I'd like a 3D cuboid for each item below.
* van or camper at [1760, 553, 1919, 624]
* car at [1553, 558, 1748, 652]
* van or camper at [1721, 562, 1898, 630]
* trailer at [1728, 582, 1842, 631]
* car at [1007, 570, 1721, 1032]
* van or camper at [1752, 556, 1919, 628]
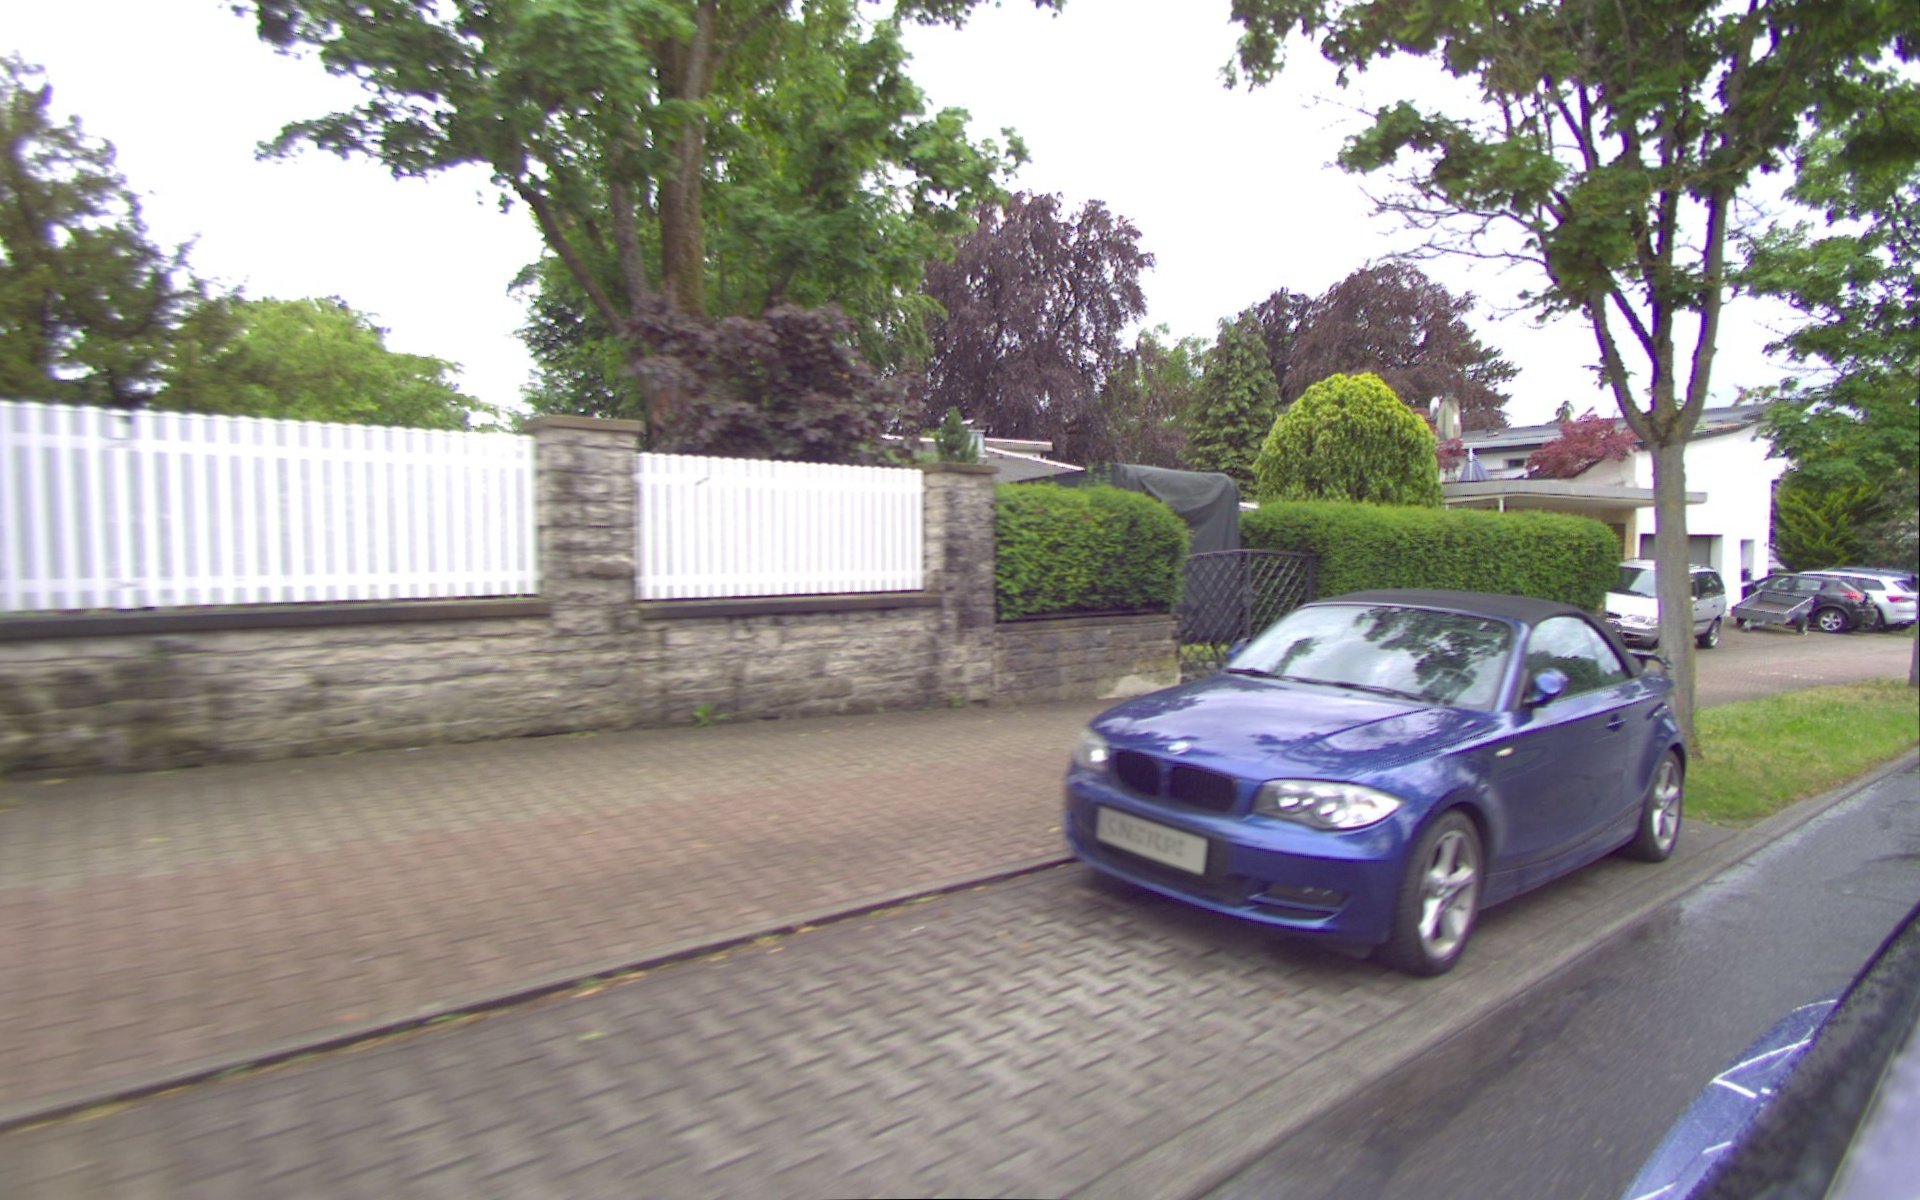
[{"bbox_3d":[27.801,-0.413,31.458,1.908,1.809,4.037,0,6,-28],"label":"van or camper"},{"bbox_3d":[14.605,0.047,21.301,4.850,1.779,1.800,0,2,-36],"label":"car"},{"bbox_3d":[23.744,-0.166,28.373,1.736,1.574,3.415,-1,5,-36],"label":"van or camper"},{"bbox_3d":[21.464,0.122,26.298,3.214,0.931,1.427,-2,11,-36],"label":"trailer"},{"bbox_3d":[2.197,0.605,5.041,3.761,1.394,1.646,-1,4,-39],"label":"car"},{"bbox_3d":[26.194,-0.297,29.757,2.081,1.696,4.008,0,6,-31],"label":"van or camper"}]
